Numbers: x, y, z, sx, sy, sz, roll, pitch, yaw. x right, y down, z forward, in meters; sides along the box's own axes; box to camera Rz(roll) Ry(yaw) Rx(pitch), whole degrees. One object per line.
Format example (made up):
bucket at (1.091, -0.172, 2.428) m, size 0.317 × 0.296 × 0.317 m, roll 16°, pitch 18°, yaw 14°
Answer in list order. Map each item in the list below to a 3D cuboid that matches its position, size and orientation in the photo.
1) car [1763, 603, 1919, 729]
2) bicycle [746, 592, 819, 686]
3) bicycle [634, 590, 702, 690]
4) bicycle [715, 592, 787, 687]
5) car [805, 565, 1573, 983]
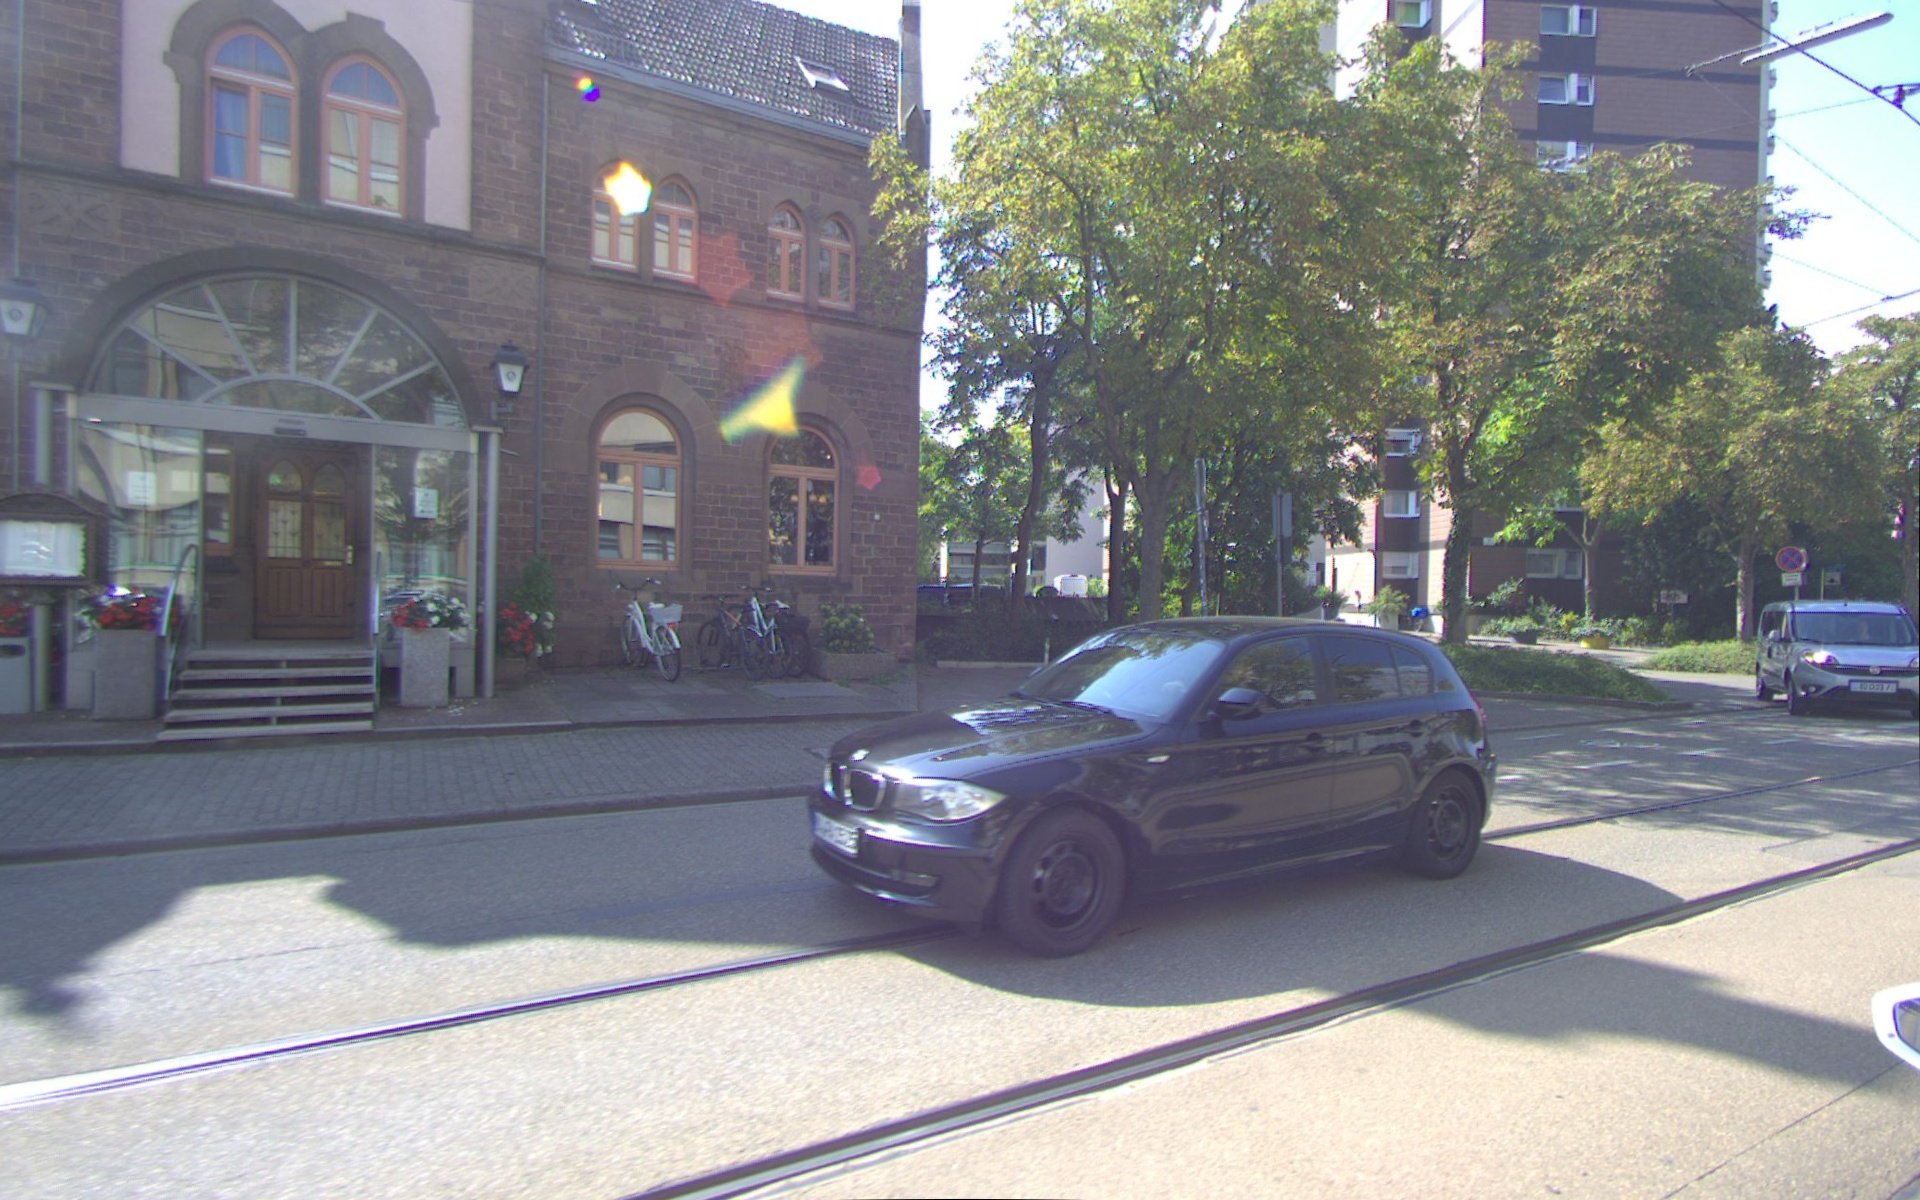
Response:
car at (14.737, 0.988, 16.759) m, size 1.723 × 1.820 × 3.988 m, roll 2°, pitch 1°, yaw 34°
bicycle at (-2.428, 0.502, 13.633) m, size 0.395 × 1.108 × 1.442 m, roll 1°, pitch 4°, yaw -33°
bicycle at (-3.736, 0.480, 12.785) m, size 0.395 × 1.108 × 1.442 m, roll 1°, pitch 4°, yaw -33°
bicycle at (-2.810, 0.495, 13.403) m, size 0.395 × 1.108 × 1.442 m, roll 1°, pitch 4°, yaw -33°
car at (1.395, 0.691, 5.595) m, size 4.156 × 1.592 × 1.673 m, roll 1°, pitch 0°, yaw -30°
